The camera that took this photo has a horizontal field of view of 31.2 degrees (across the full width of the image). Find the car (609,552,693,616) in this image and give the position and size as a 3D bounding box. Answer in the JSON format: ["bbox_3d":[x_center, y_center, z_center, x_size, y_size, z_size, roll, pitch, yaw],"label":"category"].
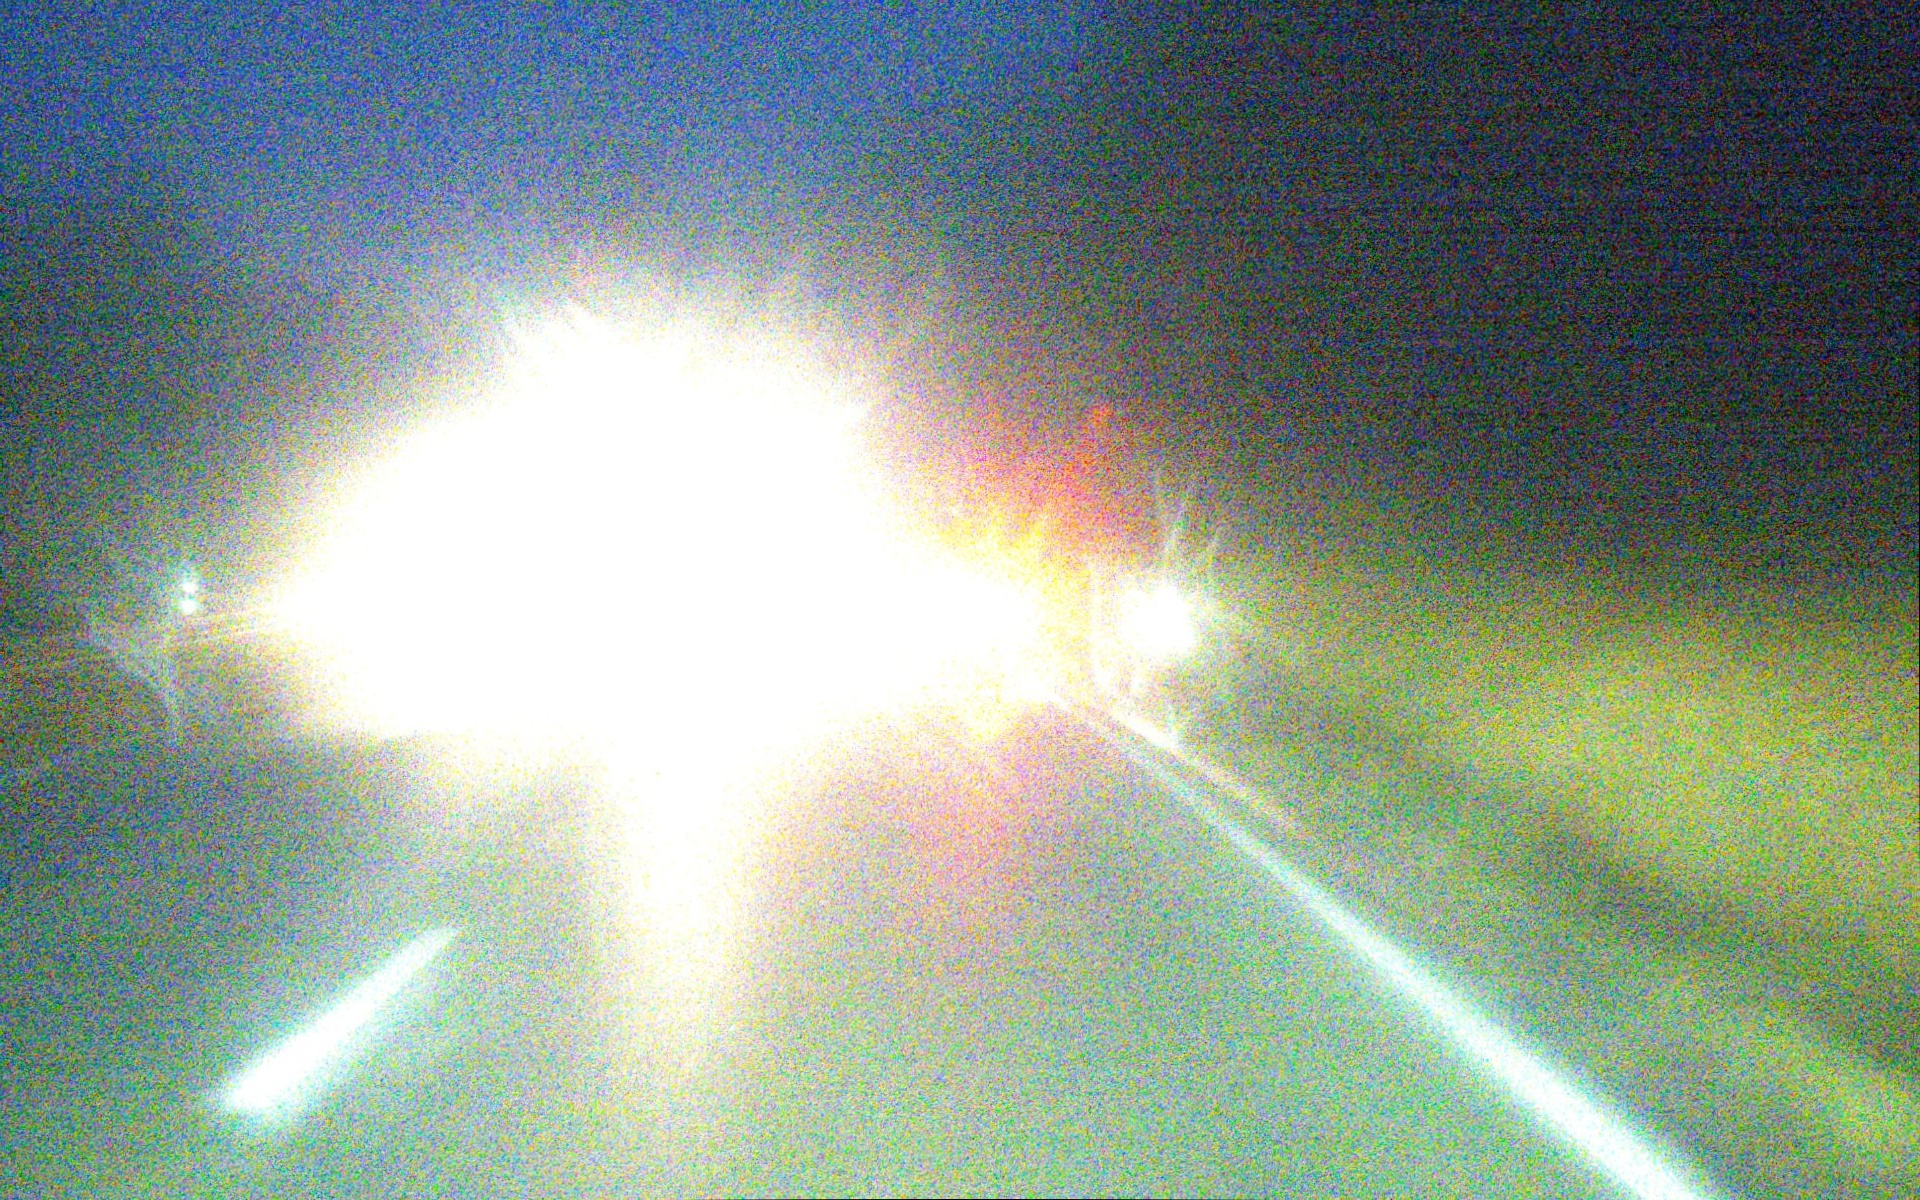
[{"bbox_3d":[-7.578,-0.394,84.514,1.843,1.499,3.710,1,0,-2],"label":"car"}]

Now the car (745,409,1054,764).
[{"bbox_3d":[-0.517,-0.199,28.093,2.181,2.548,4.509,3,2,-2],"label":"car"}]
